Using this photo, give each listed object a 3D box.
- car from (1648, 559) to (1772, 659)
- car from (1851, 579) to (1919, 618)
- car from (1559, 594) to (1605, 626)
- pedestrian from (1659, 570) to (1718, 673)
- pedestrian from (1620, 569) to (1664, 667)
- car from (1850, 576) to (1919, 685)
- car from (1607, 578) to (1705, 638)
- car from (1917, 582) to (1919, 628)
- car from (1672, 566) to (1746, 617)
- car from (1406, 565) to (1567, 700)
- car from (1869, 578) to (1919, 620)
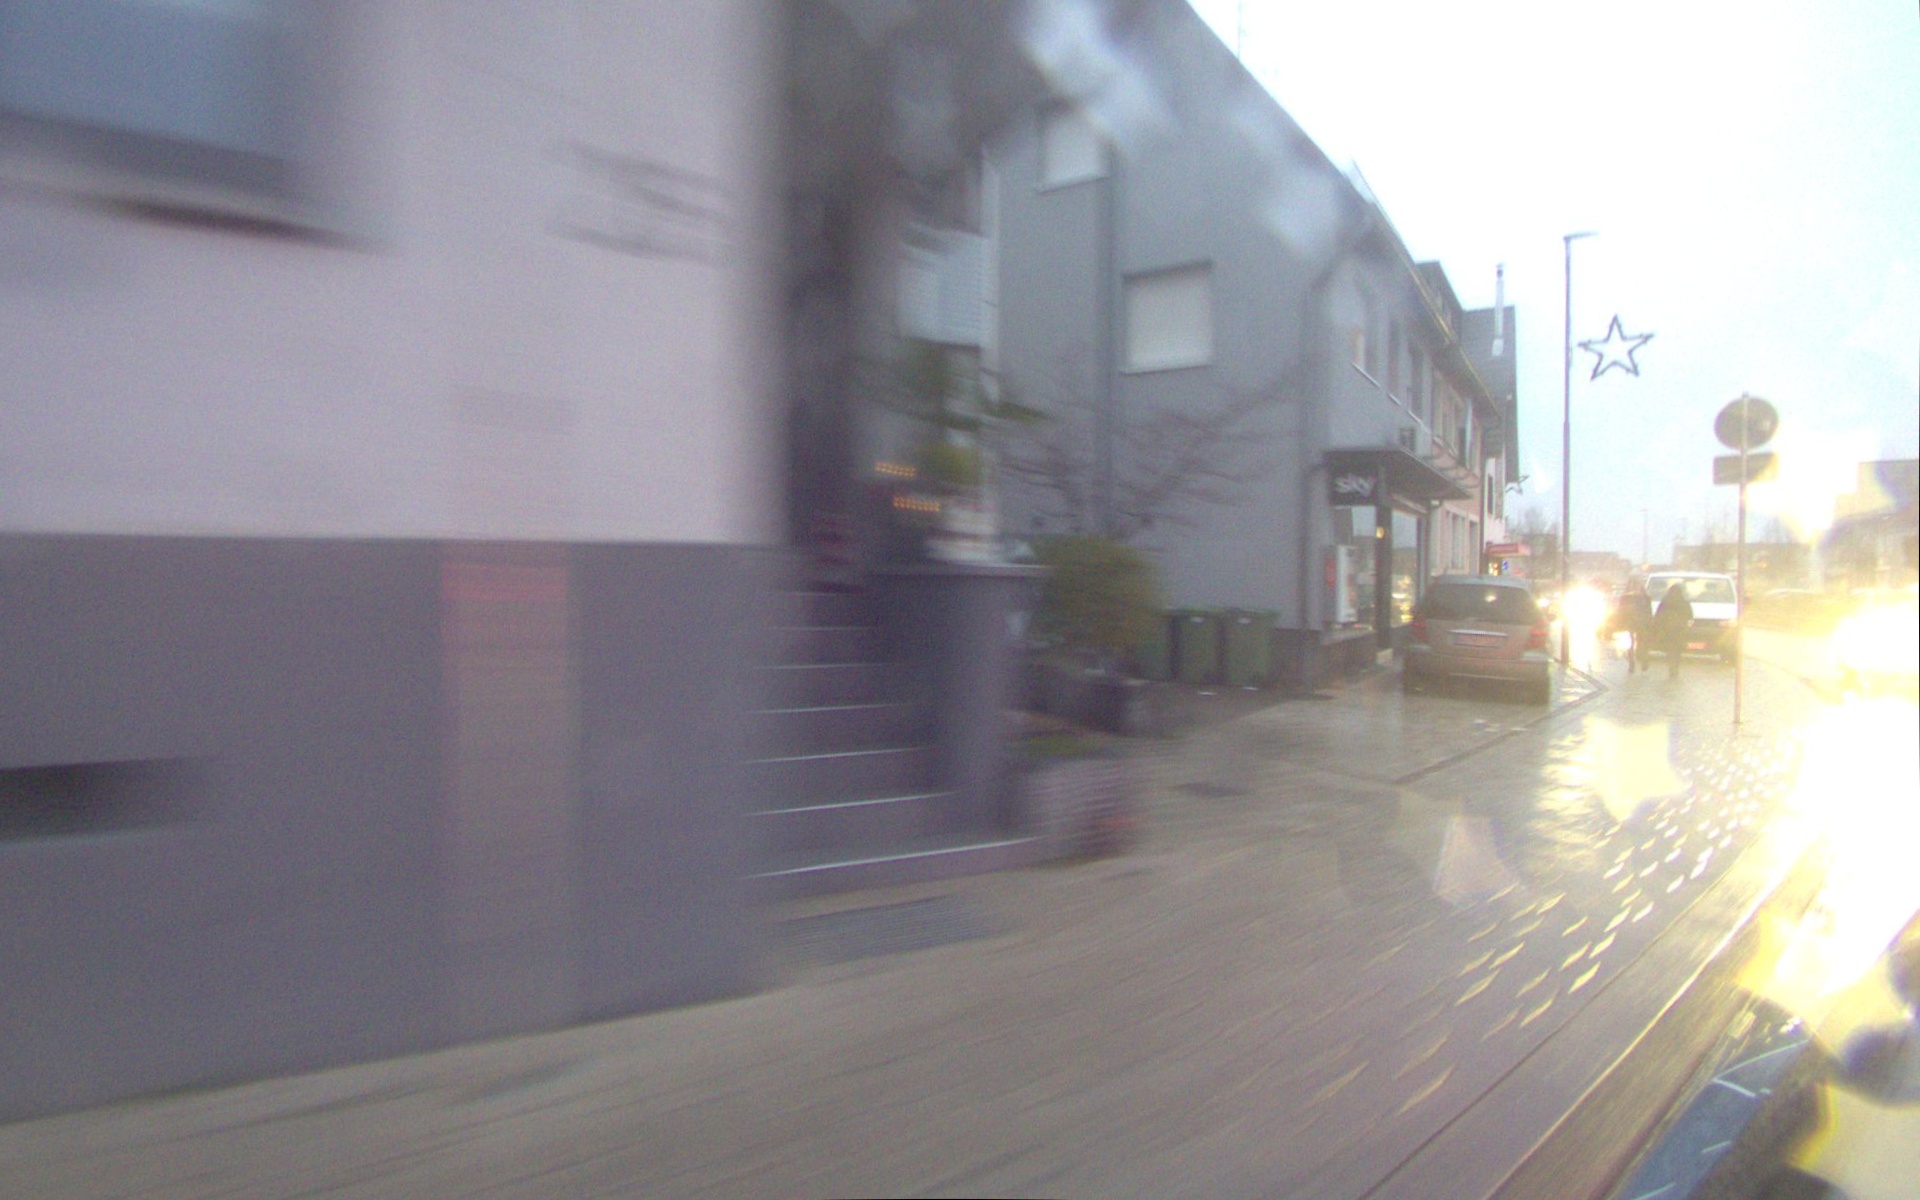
[{"bbox_3d":[16.659,0.149,22.686,1.966,1.984,4.792,2,1,34],"label":"car"},{"bbox_3d":[46.170,-0.059,48.814,4.386,1.824,1.827,2,1,28],"label":"car"},{"bbox_3d":[37.847,0.591,61.645,1.981,1.806,4.477,1,1,27],"label":"car"},{"bbox_3d":[12.660,0.357,17.617,0.709,1.720,0.796,2,1,30],"label":"pedestrian"},{"bbox_3d":[12.063,0.304,17.925,0.577,1.690,0.782,2,1,33],"label":"pedestrian"},{"bbox_3d":[16.560,0.444,16.960,2.261,1.663,4.994,1,1,39],"label":"car"},{"bbox_3d":[21.464,0.214,31.385,1.963,1.681,4.416,2,1,28],"label":"car"},{"bbox_3d":[36.904,0.244,35.796,3.963,1.705,1.981,2,1,28],"label":"car"},{"bbox_3d":[39.250,-0.449,53.199,2.182,2.521,6.082,1,1,28],"label":"car"},{"bbox_3d":[7.363,0.352,14.142,1.724,1.580,3.626,2,2,29],"label":"car"},{"bbox_3d":[44.903,-0.032,46.370,4.475,1.890,1.850,2,1,28],"label":"car"}]
